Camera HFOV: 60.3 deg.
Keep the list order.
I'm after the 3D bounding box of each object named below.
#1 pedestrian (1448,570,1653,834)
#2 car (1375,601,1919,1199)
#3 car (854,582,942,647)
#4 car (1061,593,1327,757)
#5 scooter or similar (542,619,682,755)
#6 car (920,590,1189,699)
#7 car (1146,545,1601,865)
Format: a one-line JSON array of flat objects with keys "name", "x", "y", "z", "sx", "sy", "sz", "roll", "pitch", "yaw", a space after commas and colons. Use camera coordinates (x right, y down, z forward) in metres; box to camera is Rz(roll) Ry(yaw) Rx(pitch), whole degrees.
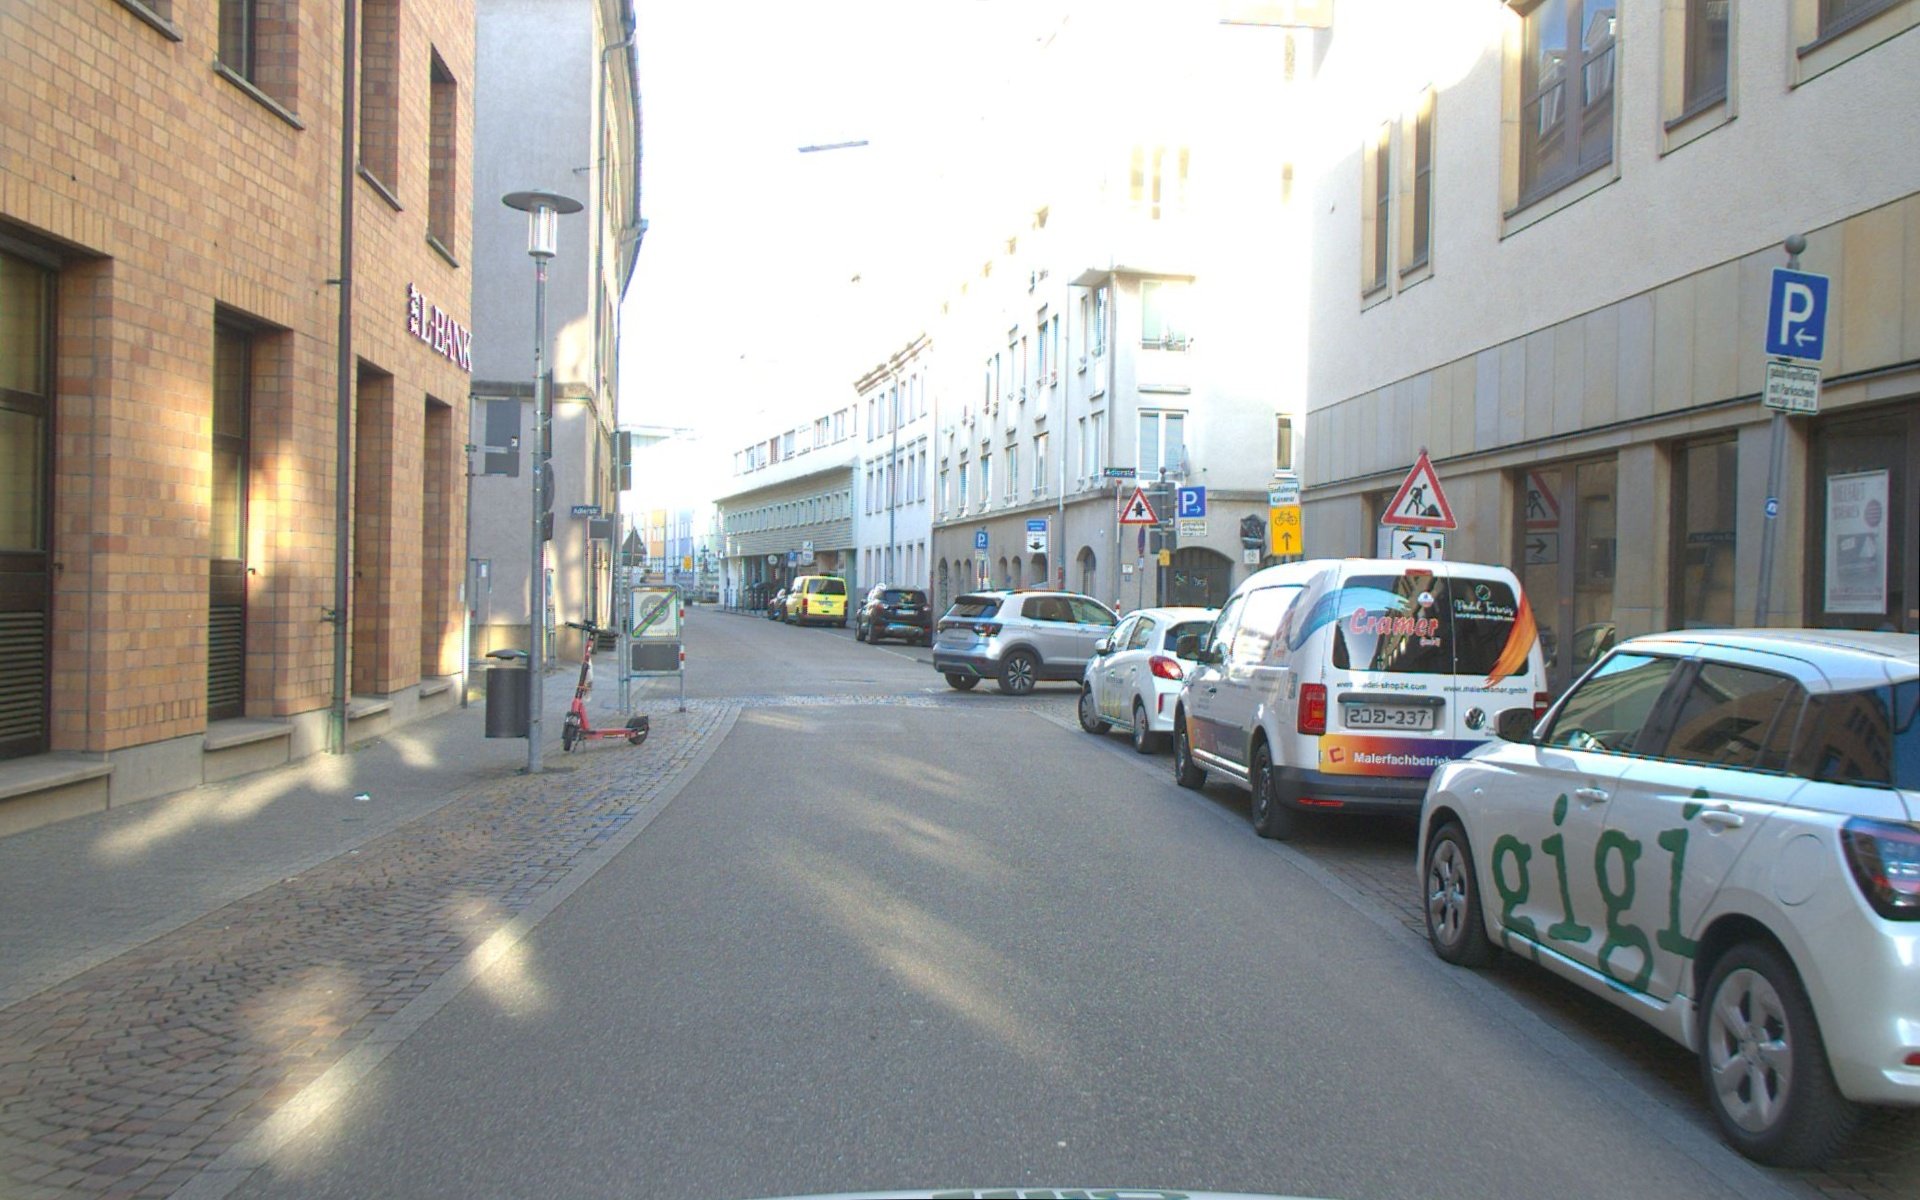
[{"name": "pedestrian", "x": 4.319, "y": 0.715, "z": 12.194, "sx": 1.021, "sy": 1.833, "sz": 1.198, "roll": 1, "pitch": 0, "yaw": -3}, {"name": "car", "x": 3.081, "y": 0.836, "z": 6.037, "sx": 1.804, "sy": 1.503, "sz": 4.165, "roll": 3, "pitch": 0, "yaw": -3}, {"name": "car", "x": -1.856, "y": 0.382, "z": 47.989, "sx": 1.932, "sy": 1.721, "sz": 4.091, "roll": 2, "pitch": 0, "yaw": -10}, {"name": "car", "x": 2.431, "y": 0.740, "z": 18.261, "sx": 1.853, "sy": 1.544, "sz": 4.056, "roll": 2, "pitch": 0, "yaw": -8}, {"name": "scooter or similar", "x": -3.399, "y": 0.822, "z": 16.255, "sx": 0.684, "sy": 1.238, "sz": 1.356, "roll": 0, "pitch": 0, "yaw": 24}, {"name": "car", "x": 1.519, "y": 0.658, "z": 26.181, "sx": 3.947, "sy": 1.589, "sz": 1.823, "roll": 0, "pitch": 1, "yaw": -32}, {"name": "car", "x": 2.731, "y": 0.606, "z": 12.329, "sx": 1.794, "sy": 1.822, "sz": 5.211, "roll": 2, "pitch": 0, "yaw": -3}]
